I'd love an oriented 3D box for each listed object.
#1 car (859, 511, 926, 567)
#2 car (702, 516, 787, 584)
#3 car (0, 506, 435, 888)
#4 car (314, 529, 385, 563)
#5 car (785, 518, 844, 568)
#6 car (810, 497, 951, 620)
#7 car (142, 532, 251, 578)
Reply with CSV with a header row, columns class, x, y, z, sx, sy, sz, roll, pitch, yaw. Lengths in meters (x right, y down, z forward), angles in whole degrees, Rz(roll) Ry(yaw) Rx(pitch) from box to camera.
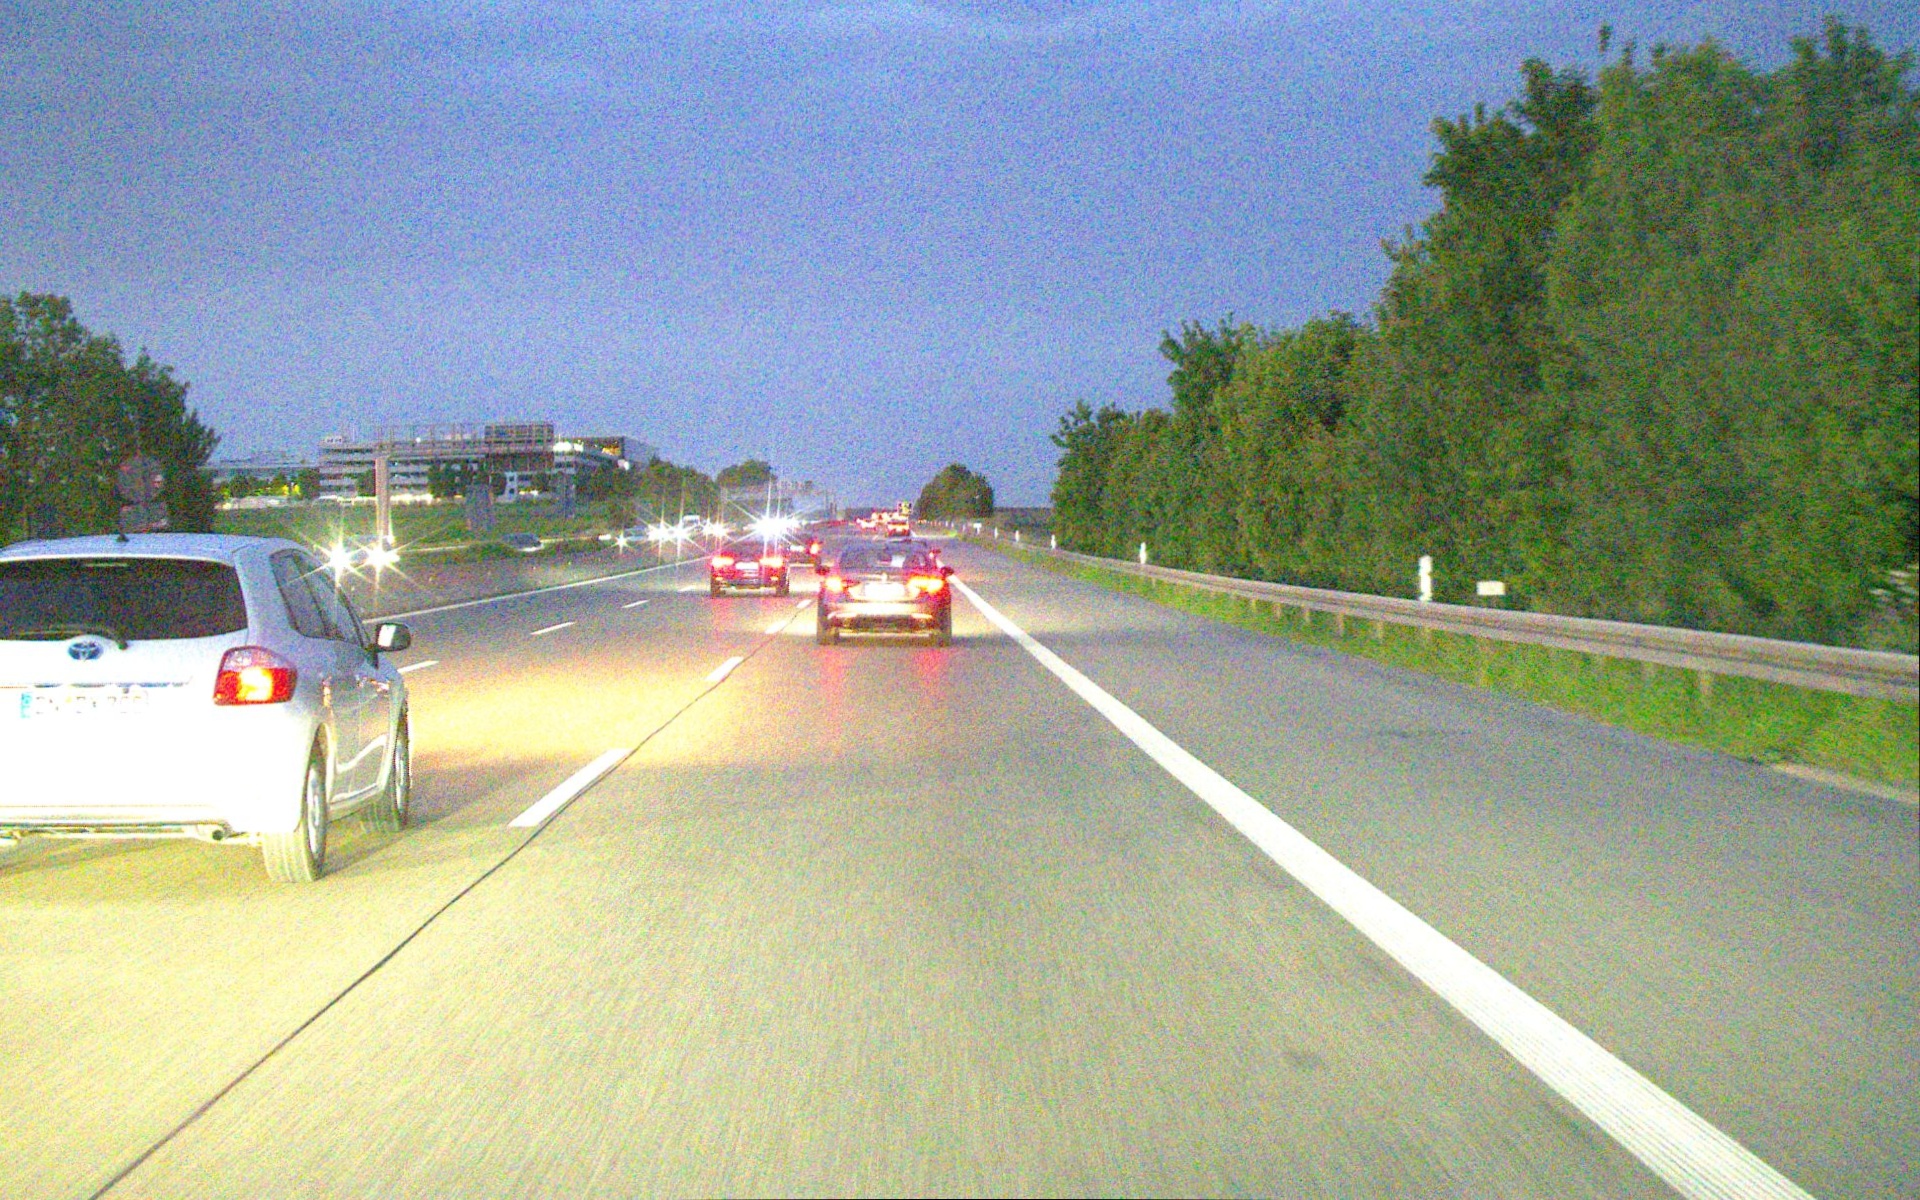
class,x,y,z,sx,sy,sz,roll,pitch,yaw
car,-1.976,-1.760,99.766,1.880,1.546,4.000,1,1,-2
car,-5.128,-1.190,82.178,1.880,1.546,4.000,1,1,-2
car,-3.638,0.354,16.036,1.744,1.519,4.414,1,1,-1
car,-22.027,-1.959,124.203,1.931,1.174,4.000,1,1,-1
car,-5.680,-2.234,134.546,2.199,1.873,4.000,1,1,-1
car,-1.119,-0.589,48.374,1.880,1.637,4.000,1,1,-1
car,-17.030,-1.003,76.781,1.692,0.985,3.566,1,1,-1
